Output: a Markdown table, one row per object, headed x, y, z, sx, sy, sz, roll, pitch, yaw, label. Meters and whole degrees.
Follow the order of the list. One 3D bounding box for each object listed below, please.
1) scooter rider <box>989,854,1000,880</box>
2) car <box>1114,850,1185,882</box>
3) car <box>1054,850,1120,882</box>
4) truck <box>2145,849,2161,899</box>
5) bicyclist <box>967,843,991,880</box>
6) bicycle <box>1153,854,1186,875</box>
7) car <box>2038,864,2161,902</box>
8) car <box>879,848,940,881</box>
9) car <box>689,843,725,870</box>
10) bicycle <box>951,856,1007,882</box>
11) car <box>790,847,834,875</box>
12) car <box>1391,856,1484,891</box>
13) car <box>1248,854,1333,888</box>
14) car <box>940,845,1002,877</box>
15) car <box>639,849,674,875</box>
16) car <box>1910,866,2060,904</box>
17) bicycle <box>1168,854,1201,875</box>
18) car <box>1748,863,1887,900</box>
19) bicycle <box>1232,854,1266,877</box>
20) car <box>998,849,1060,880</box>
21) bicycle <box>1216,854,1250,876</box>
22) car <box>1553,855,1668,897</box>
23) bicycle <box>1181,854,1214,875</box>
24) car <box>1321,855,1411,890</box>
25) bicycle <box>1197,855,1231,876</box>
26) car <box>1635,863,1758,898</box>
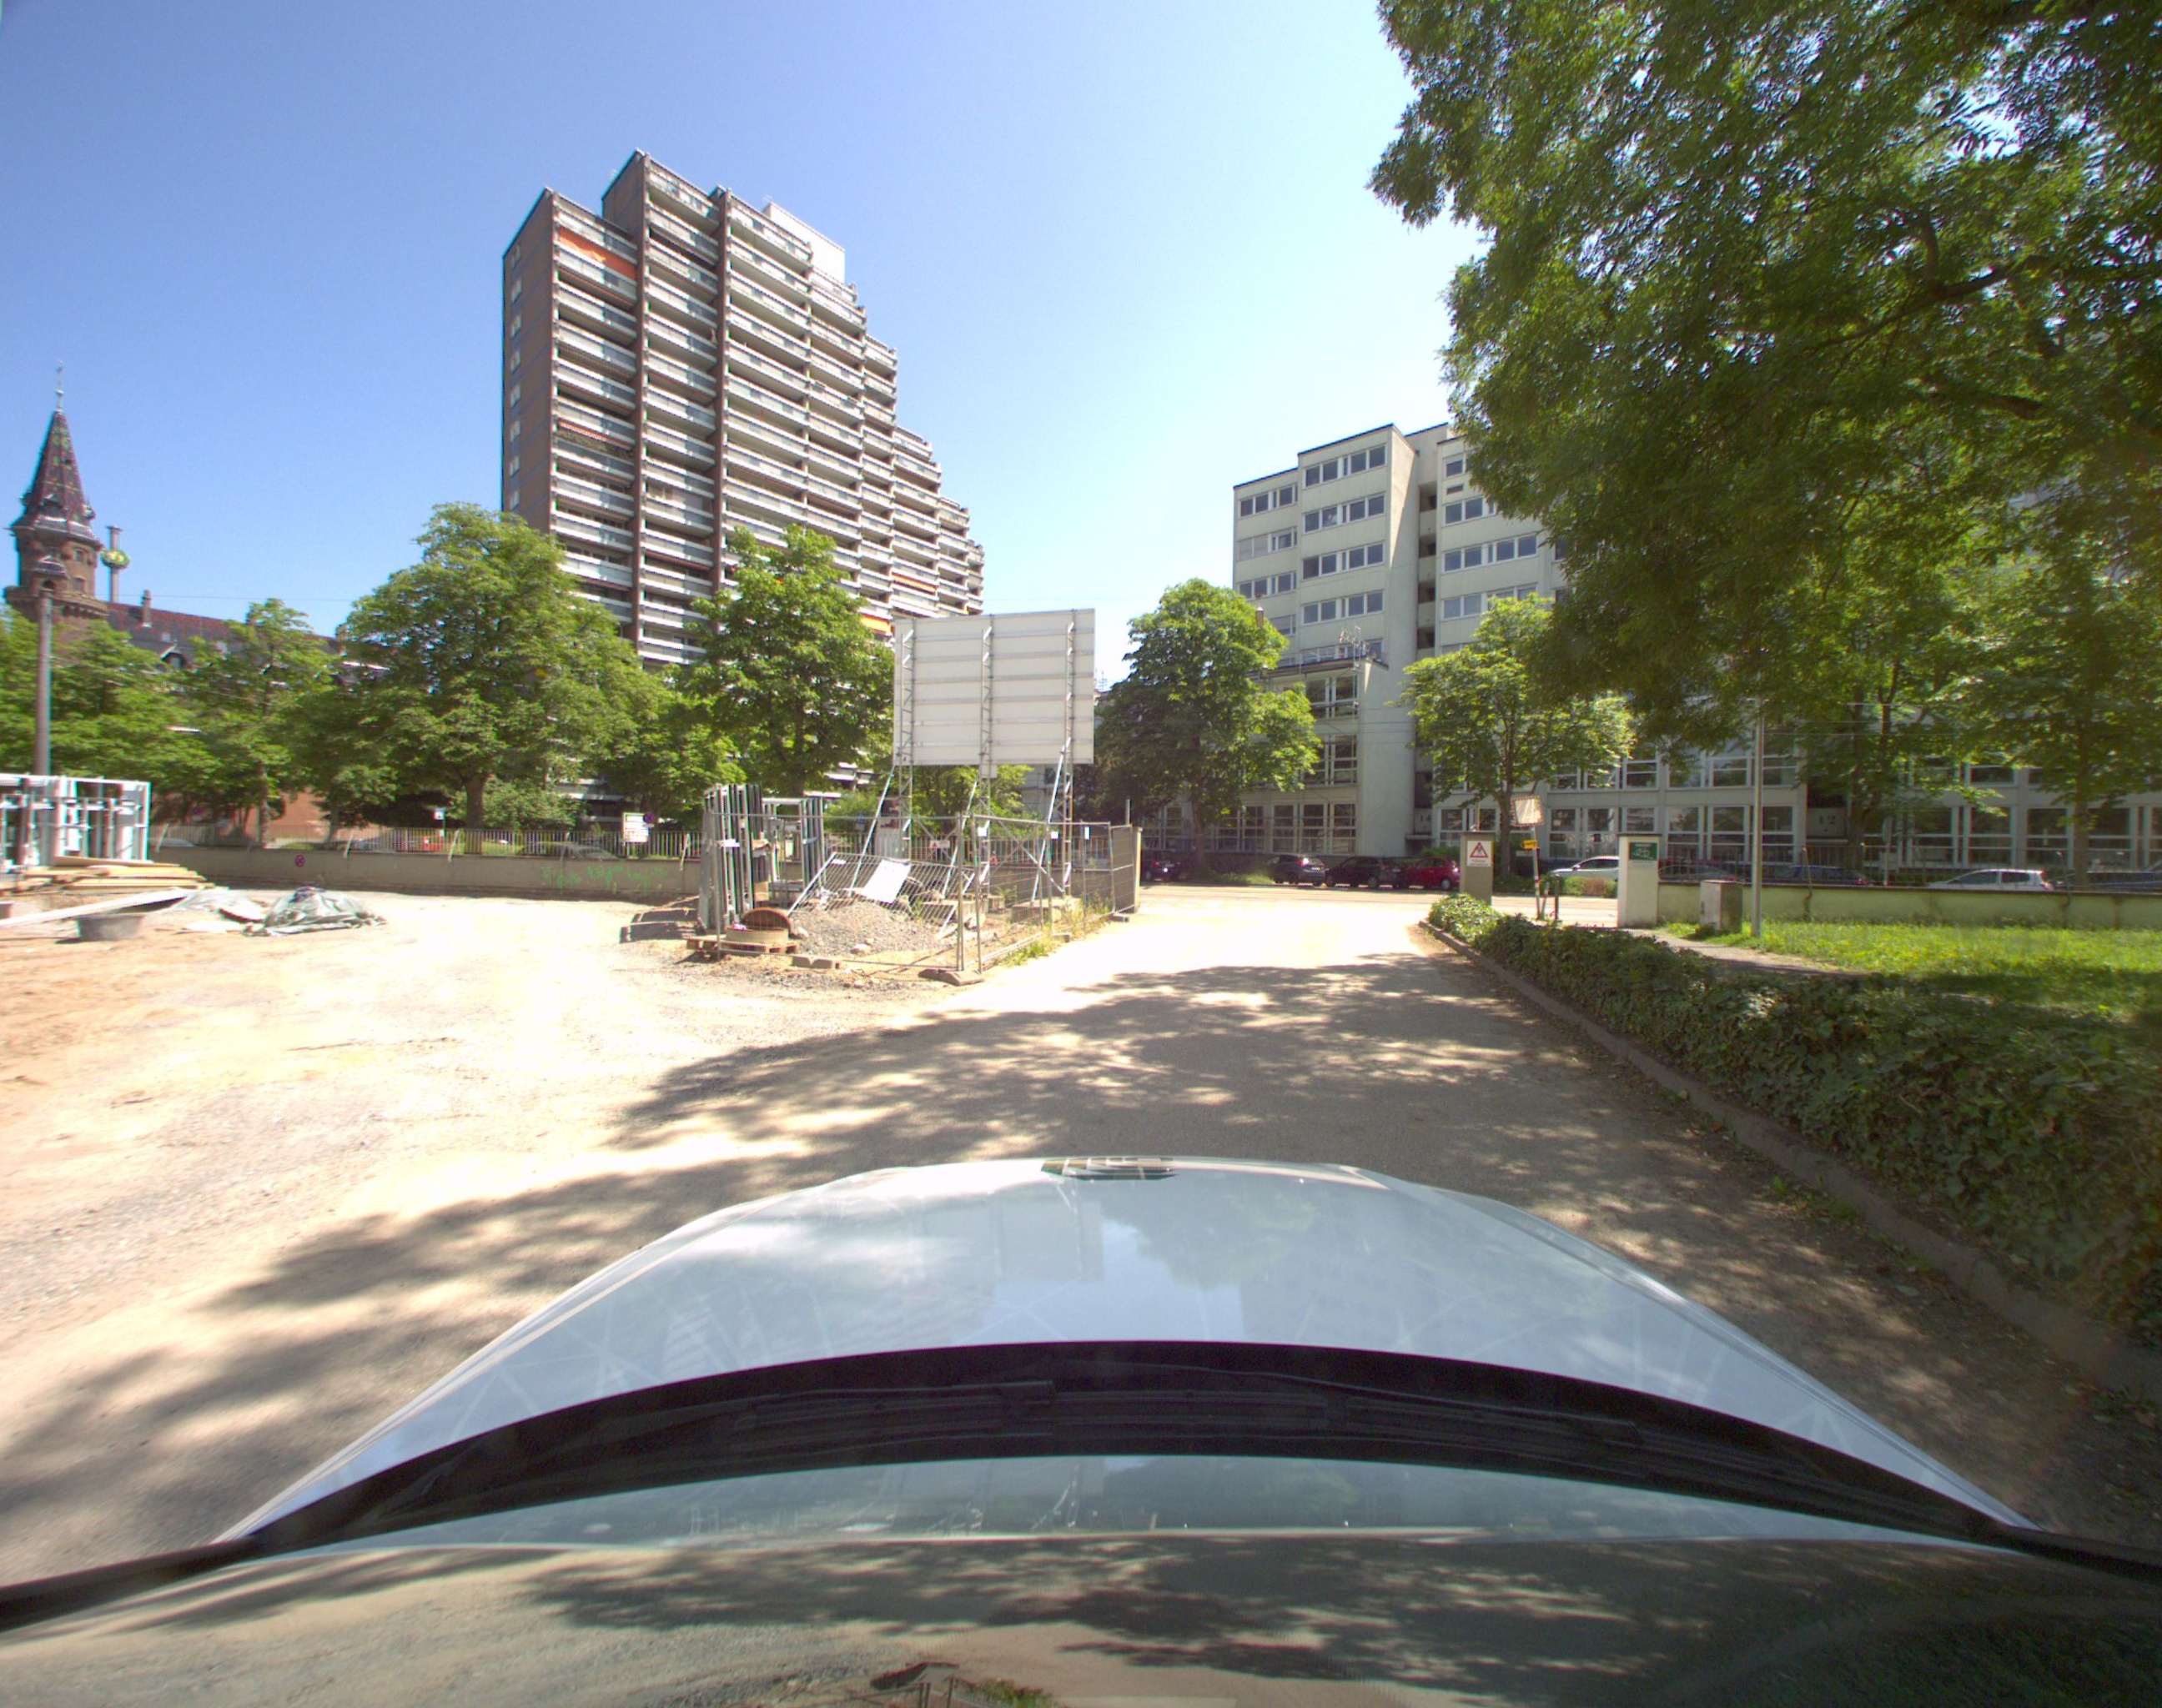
| x | y | z | sx | sy | sz | roll | pitch | yaw | label |
| --- | --- | --- | --- | --- | --- | --- | --- | --- | --- |
| -3.892 | 0.577 | 36.643 | 0.413 | 1.134 | 0.360 | 0 | 0 | 10 | scooter rider |
| 3.232 | 0.551 | 38.868 | 1.643 | 1.463 | 3.644 | 0 | 0 | -29 | car |
| 0.241 | 0.544 | 39.624 | 1.643 | 1.463 | 3.644 | 0 | 0 | -29 | car |
| 41.345 | 0.742 | 28.668 | 1.662 | 1.833 | 4.596 | 1 | -1 | -33 | truck |
| -4.684 | 0.341 | 37.402 | 0.892 | 1.665 | 0.861 | 0 | 0 | 10 | bicyclist |
| 5.145 | 0.592 | 47.257 | 0.773 | 1.157 | 2.399 | 0 | 0 | 38 | bicycle |
| 38.021 | 1.038 | 30.071 | 1.540 | 1.291 | 3.330 | 0 | 0 | -33 | car |
| -8.153 | 0.464 | 38.507 | 1.644 | 1.463 | 3.640 | 0 | 0 | -33 | car |
| -20.614 | 0.119 | 44.853 | 1.642 | 1.387 | 3.645 | 0 | 0 | -27 | car |
| -4.696 | 0.665 | 37.408 | 2.417 | 1.152 | 0.788 | 1 | 0 | 10 | bicycle |
| -14.196 | 0.341 | 42.845 | 1.642 | 1.387 | 3.645 | 0 | 0 | -27 | car |
| 15.692 | 0.840 | 36.001 | 1.616 | 1.436 | 3.571 | 0 | 0 | -27 | car |
| 9.591 | 0.726 | 37.530 | 1.651 | 1.463 | 3.639 | 0 | 0 | -34 | car |
| -5.430 | 0.324 | 39.915 | 1.644 | 1.463 | 3.640 | 0 | 0 | -33 | car |
| -23.198 | 0.423 | 44.542 | 1.642 | 1.387 | 3.645 | 0 | 0 | -27 | car |
| 34.652 | 1.157 | 31.307 | 1.619 | 1.291 | 3.704 | 0 | 0 | -35 | car |
| 5.935 | 0.602 | 46.650 | 0.773 | 1.157 | 2.399 | 0 | 0 | 38 | bicycle |
| 28.717 | 1.029 | 31.870 | 1.615 | 1.305 | 3.712 | 0 | 0 | -26 | car |
| 9.127 | 0.604 | 44.209 | 0.773 | 1.188 | 2.447 | 0 | 0 | 38 | bicycle |
| -2.596 | 0.497 | 39.942 | 1.643 | 1.463 | 3.644 | 0 | 0 | -29 | car |
| 8.385 | 0.596 | 44.807 | 0.773 | 1.188 | 2.447 | 0 | 0 | 38 | bicycle |
| 22.084 | 0.876 | 34.083 | 1.618 | 1.620 | 3.706 | 1 | 0 | -33 | car |
| 6.611 | 0.580 | 46.140 | 0.773 | 1.157 | 2.399 | 0 | 0 | 38 | bicycle |
| 12.710 | 0.803 | 36.531 | 1.617 | 1.445 | 3.642 | 0 | 0 | -31 | car |
| 7.446 | 0.622 | 45.497 | 0.773 | 1.157 | 2.399 | 0 | 0 | 38 | bicycle |
| 25.089 | 1.036 | 33.339 | 1.616 | 1.281 | 3.712 | 0 | 0 | -27 | car |
